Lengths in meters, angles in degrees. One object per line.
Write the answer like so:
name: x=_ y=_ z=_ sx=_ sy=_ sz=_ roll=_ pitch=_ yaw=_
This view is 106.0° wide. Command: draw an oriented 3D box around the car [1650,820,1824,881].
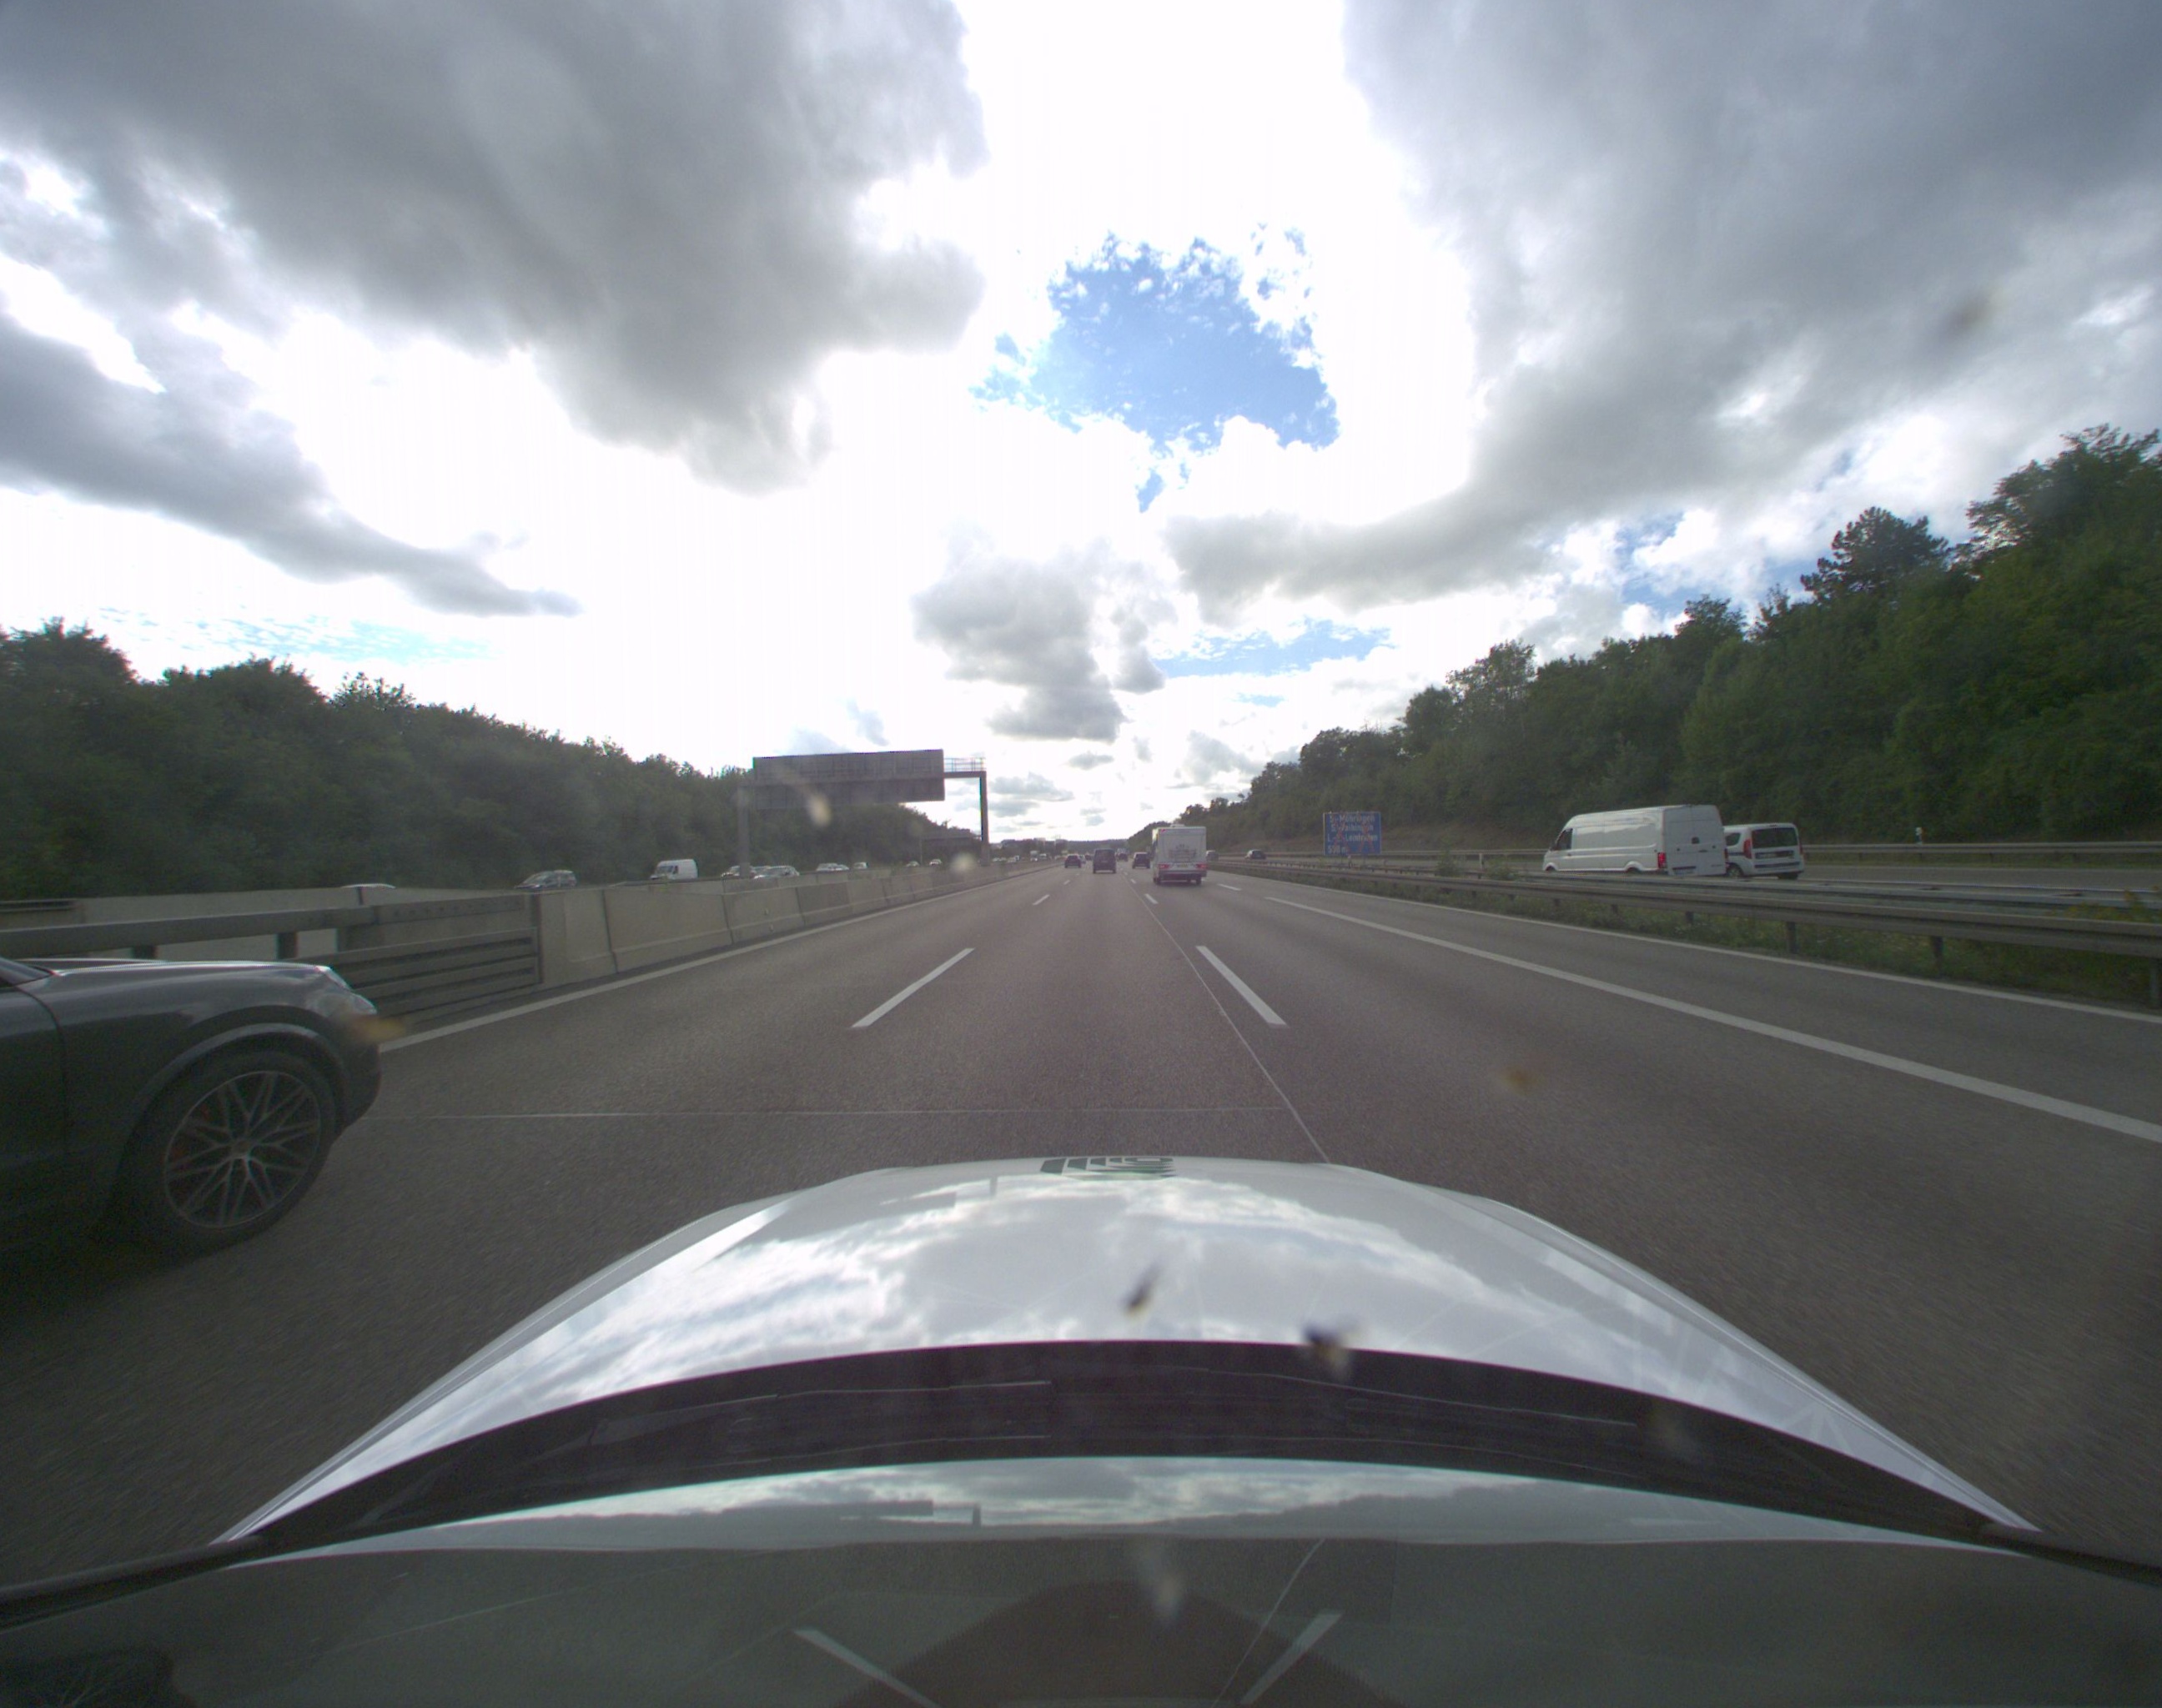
car: x=20.817 y=-0.102 z=26.150 sx=1.836 sy=1.752 sz=4.766 roll=-1 pitch=0 yaw=2

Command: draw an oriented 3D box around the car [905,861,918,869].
car: x=-32.301 y=2.013 z=154.974 sx=1.497 sy=1.427 sz=4.109 roll=-2 pitch=0 yaw=1

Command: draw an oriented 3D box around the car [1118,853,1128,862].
car: x=8.387 y=0.685 z=164.047 sx=1.906 sy=1.919 sz=4.031 roll=-1 pitch=0 yaw=1

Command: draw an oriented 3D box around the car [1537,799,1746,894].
car: x=17.356 y=-0.218 z=25.851 sx=2.062 sy=2.554 sz=6.745 roll=-2 pitch=0 yaw=2

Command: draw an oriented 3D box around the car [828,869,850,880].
car: x=-33.742 y=2.865 z=113.456 sx=1.652 sy=1.444 sz=4.324 roll=-2 pitch=0 yaw=1

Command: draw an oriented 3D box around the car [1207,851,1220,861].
car: x=20.936 y=0.334 z=128.940 sx=1.535 sy=1.484 sz=3.943 roll=-3 pitch=0 yaw=1

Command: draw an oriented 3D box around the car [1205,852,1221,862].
car: x=20.926 y=0.494 z=129.289 sx=1.837 sy=1.484 sz=4.525 roll=-3 pitch=0 yaw=0

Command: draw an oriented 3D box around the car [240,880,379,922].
car: x=-33.331 y=1.991 z=35.381 sx=1.669 sy=1.517 sz=4.372 roll=-2 pitch=0 yaw=3

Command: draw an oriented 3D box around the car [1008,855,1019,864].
car: x=-15.049 y=1.184 z=181.212 sx=1.828 sy=1.786 sz=5.504 roll=-2 pitch=0 yaw=1

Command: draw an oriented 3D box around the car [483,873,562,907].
car: x=-35.982 y=2.300 z=52.612 sx=1.986 sy=2.013 sz=4.345 roll=-1 pitch=0 yaw=1

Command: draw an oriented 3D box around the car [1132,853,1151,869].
car: x=6.272 y=0.747 z=84.220 sx=1.691 sy=1.564 sz=4.114 roll=-1 pitch=0 yaw=1

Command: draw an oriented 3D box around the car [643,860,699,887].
car: x=-38.561 y=1.795 z=76.776 sx=1.985 sy=2.315 sz=5.689 roll=-2 pitch=0 yaw=3

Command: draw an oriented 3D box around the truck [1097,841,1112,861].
truck: x=5.437 y=-0.718 z=186.270 sx=3.251 sy=4.375 sz=11.029 roll=-1 pitch=0 yaw=1

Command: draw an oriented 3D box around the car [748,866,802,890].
car: x=-18.792 y=1.464 z=50.212 sx=1.637 sy=1.315 sz=4.248 roll=-2 pitch=0 yaw=1

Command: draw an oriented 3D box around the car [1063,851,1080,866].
car: x=-1.095 y=0.490 z=94.933 sx=1.866 sy=1.698 sz=4.073 roll=-1 pitch=0 yaw=1

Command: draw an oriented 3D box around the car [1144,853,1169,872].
car: x=6.140 y=0.667 z=66.823 sx=1.714 sy=1.479 sz=4.392 roll=-1 pitch=0 yaw=1

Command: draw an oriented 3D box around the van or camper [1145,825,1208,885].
van or camper: x=4.694 y=0.037 z=41.213 sx=2.460 sy=2.722 sz=7.663 roll=-1 pitch=0 yaw=1

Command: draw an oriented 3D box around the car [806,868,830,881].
car: x=-37.633 y=2.948 z=116.695 sx=1.729 sy=1.633 sz=4.948 roll=-2 pitch=0 yaw=1

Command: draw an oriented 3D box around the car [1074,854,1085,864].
car: x=-0.172 y=0.780 z=129.706 sx=1.691 sy=1.611 sz=4.114 roll=-1 pitch=0 yaw=1

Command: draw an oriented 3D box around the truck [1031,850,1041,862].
truck: x=-13.225 y=0.573 z=239.683 sx=2.345 sy=3.263 sz=7.827 roll=-2 pitch=0 yaw=1

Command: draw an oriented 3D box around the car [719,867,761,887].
car: x=-31.506 y=2.099 z=75.428 sx=1.845 sy=1.729 sz=4.428 roll=-2 pitch=0 yaw=1

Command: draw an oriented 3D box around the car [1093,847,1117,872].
car: x=1.938 y=0.419 z=65.946 sx=1.848 sy=1.910 sz=4.261 roll=-1 pitch=0 yaw=1

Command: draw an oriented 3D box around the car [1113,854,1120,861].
car: x=9.536 y=0.976 z=217.254 sx=1.746 sy=1.695 sz=4.191 roll=-1 pitch=0 yaw=1

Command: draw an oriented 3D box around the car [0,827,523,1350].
car: x=-4.358 y=0.753 z=2.107 sx=1.905 sy=1.636 sz=5.501 roll=-1 pitch=0 yaw=1

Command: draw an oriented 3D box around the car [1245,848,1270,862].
car: x=19.836 y=0.089 z=91.690 sx=1.836 sy=1.484 sz=4.527 roll=-3 pitch=0 yaw=1
